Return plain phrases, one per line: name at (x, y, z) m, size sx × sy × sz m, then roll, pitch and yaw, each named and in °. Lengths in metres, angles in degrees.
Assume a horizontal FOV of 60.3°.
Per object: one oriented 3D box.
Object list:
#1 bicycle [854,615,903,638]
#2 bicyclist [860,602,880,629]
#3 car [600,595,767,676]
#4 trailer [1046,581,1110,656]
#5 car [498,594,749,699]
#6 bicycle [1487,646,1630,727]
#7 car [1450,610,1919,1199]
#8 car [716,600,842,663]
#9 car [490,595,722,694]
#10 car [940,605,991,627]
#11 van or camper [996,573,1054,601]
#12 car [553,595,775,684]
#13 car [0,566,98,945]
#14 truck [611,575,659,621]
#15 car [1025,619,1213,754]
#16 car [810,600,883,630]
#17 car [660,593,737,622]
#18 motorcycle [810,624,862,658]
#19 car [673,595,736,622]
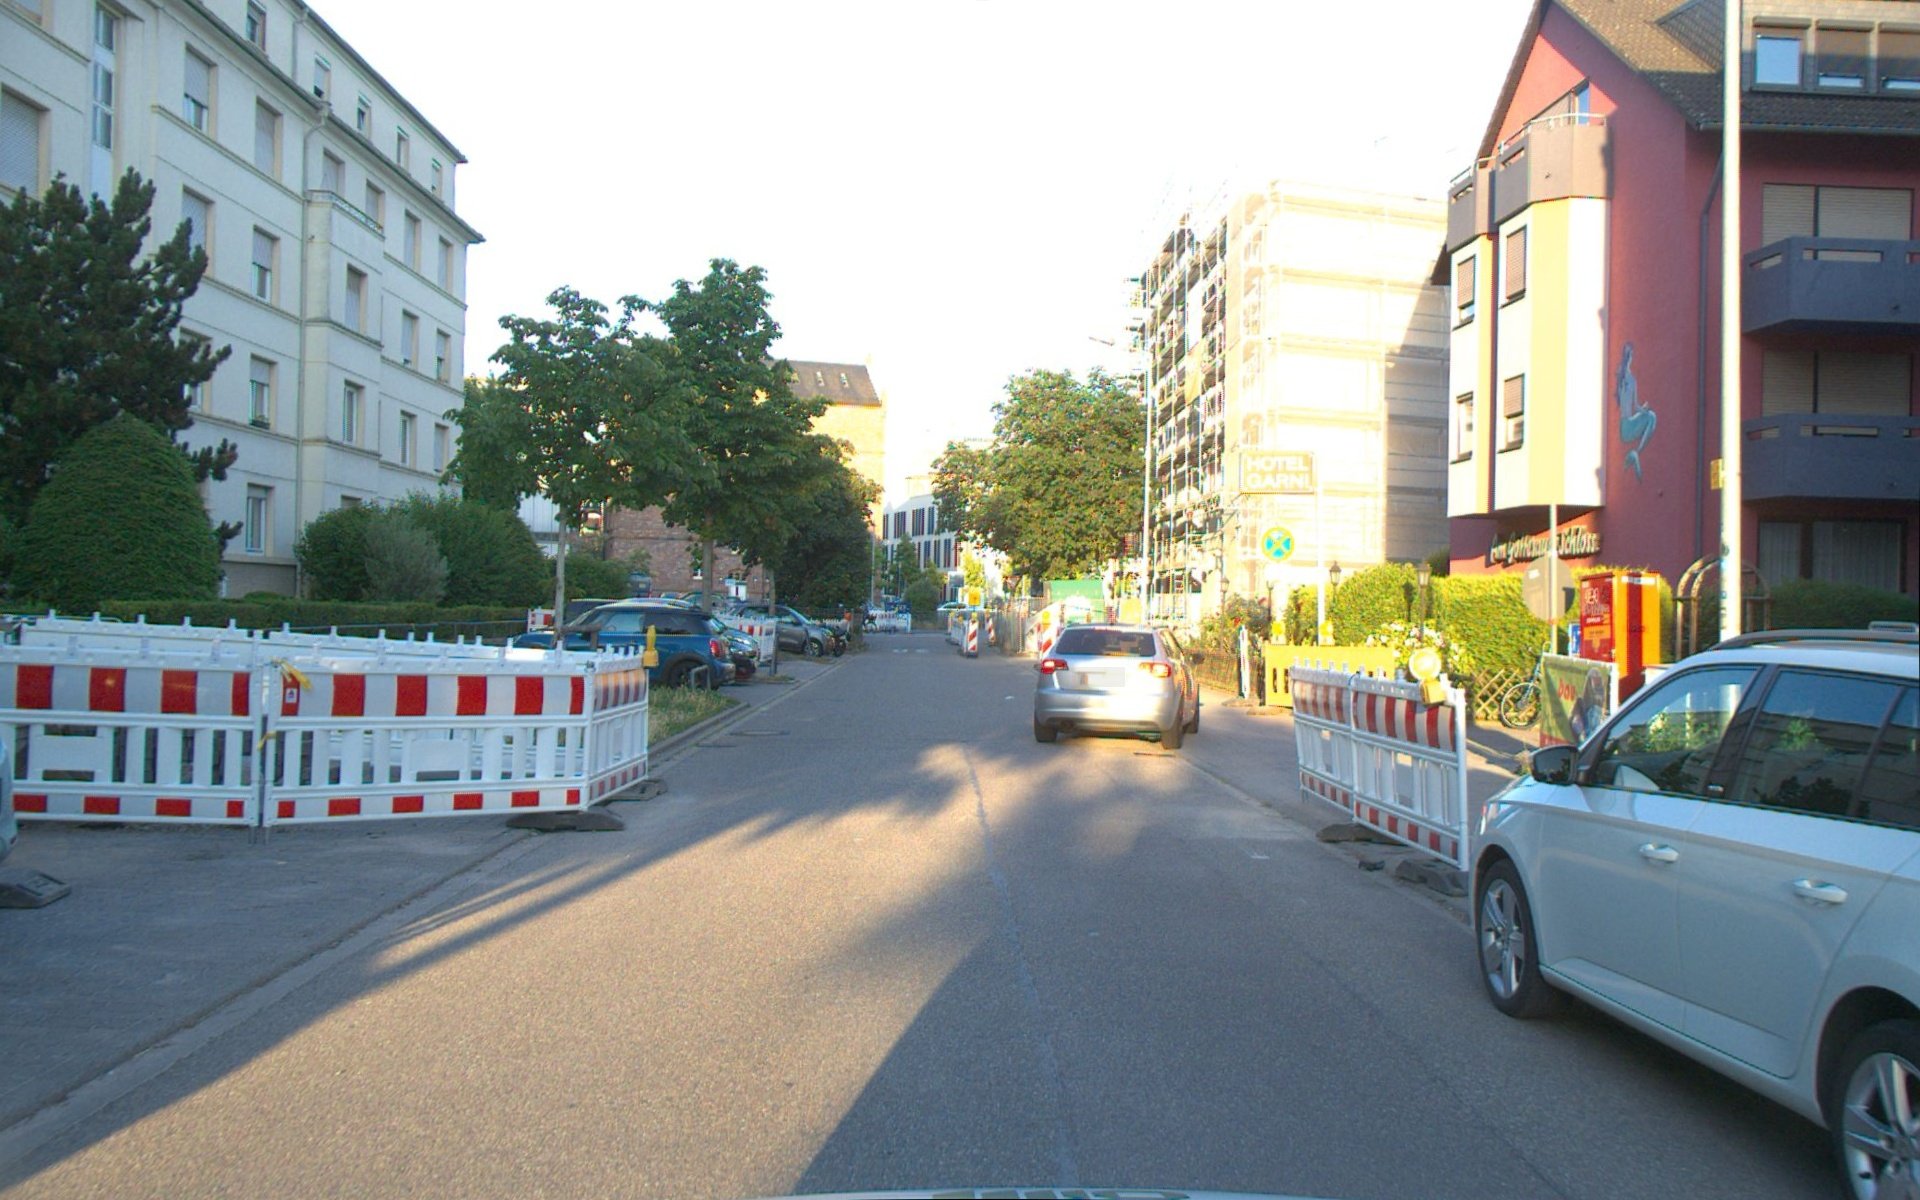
bicycle at (-4.515, 1.466, 91.518) m, size 2.673 × 1.240 × 0.709 m, roll 1°, pitch 0°, yaw -9°
bicyclist at (-4.964, 0.850, 91.436) m, size 1.041 × 1.483 × 0.790 m, roll 1°, pitch 0°, yaw -9°
car at (-6.043, 0.778, 36.429) m, size 3.406 × 1.593 × 1.726 m, roll 3°, pitch -1°, yaw -4°
trailer at (4.238, 0.637, 59.924) m, size 1.953 × 2.584 × 4.185 m, roll 1°, pitch 0°, yaw 0°
car at (-5.353, 0.744, 26.610) m, size 3.602 × 1.470 × 1.728 m, roll 3°, pitch -1°, yaw 1°
bicycle at (8.520, 1.222, 23.587) m, size 1.853 × 1.088 × 0.446 m, roll 1°, pitch -1°, yaw 5°
car at (2.959, 0.810, 4.963) m, size 1.582 × 1.495 × 3.994 m, roll 1°, pitch 0°, yaw -3°
car at (-5.448, 0.942, 50.079) m, size 3.551 × 1.584 × 1.692 m, roll 4°, pitch -1°, yaw -2°
car at (-6.143, 0.777, 29.001) m, size 3.602 × 1.510 × 1.728 m, roll 3°, pitch -1°, yaw 1°
car at (0.407, 1.270, 130.472) m, size 3.689 × 1.631 × 1.675 m, roll 1°, pitch 0°, yaw -23°
van or camper at (5.824, -1.146, 147.821) m, size 4.894 × 2.280 × 1.675 m, roll 2°, pitch -1°, yaw -23°
car at (-5.682, 0.765, 32.064) m, size 3.896 × 1.515 × 1.728 m, roll 3°, pitch -1°, yaw 1°
car at (-5.624, 0.531, 6.363) m, size 3.624 × 1.510 × 1.728 m, roll 3°, pitch 0°, yaw 1°
truck at (-19.746, -0.137, 100.325) m, size 2.297 × 2.662 × 4.948 m, roll 1°, pitch 0°, yaw -18°
car at (2.064, 0.972, 20.388) m, size 1.738 × 1.421 × 4.110 m, roll 1°, pitch 0°, yaw 13°
car at (-7.051, 0.919, 102.814) m, size 4.206 × 1.738 × 1.693 m, roll 1°, pitch 0°, yaw -20°
car at (-16.165, 0.450, 102.133) m, size 4.511 × 1.666 × 1.568 m, roll 1°, pitch 0°, yaw -18°
motorcycle at (-4.003, 1.344, 53.584) m, size 0.527 × 1.038 × 2.208 m, roll 4°, pitch 0°, yaw 28°
car at (-15.471, 0.496, 100.018) m, size 3.574 × 1.530 × 1.629 m, roll 1°, pitch 0°, yaw -18°
